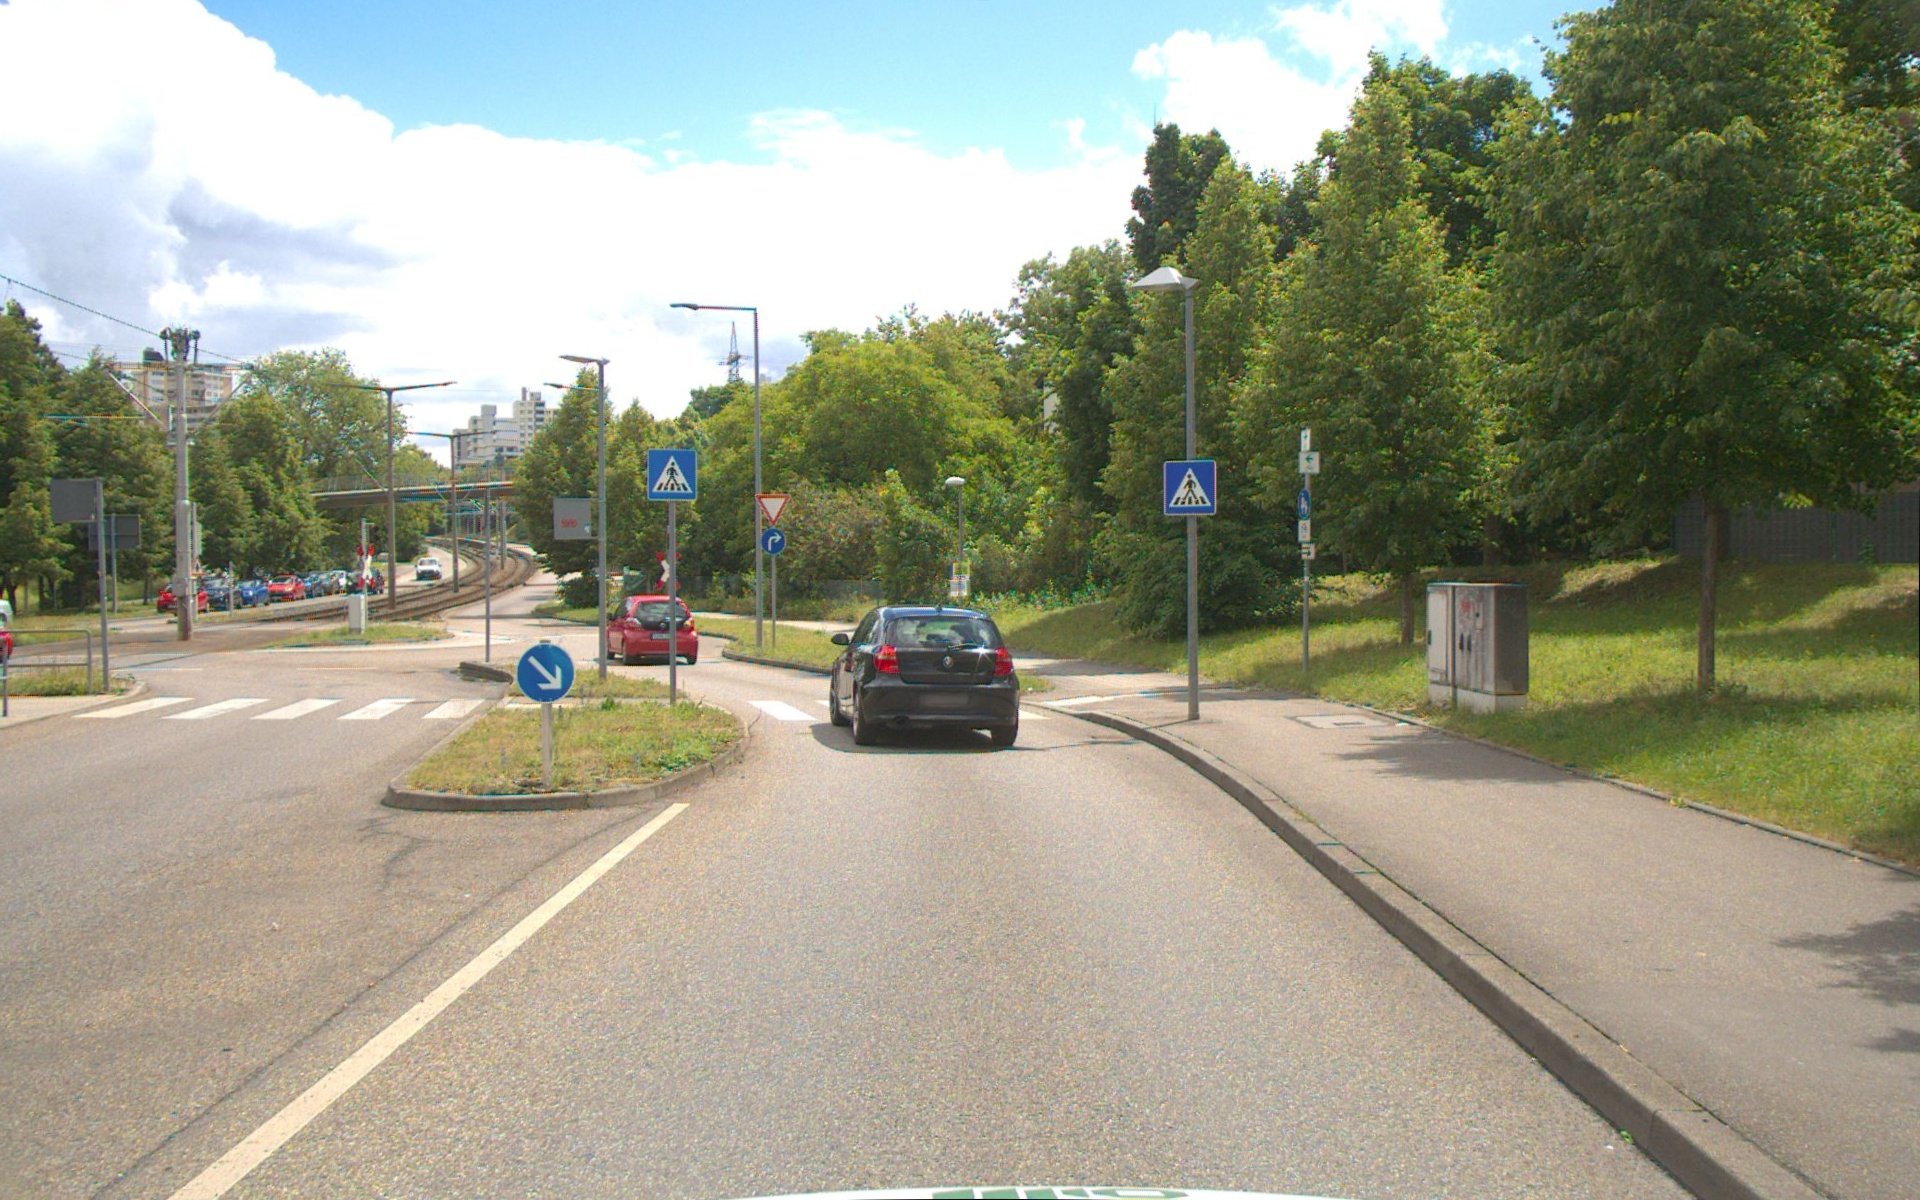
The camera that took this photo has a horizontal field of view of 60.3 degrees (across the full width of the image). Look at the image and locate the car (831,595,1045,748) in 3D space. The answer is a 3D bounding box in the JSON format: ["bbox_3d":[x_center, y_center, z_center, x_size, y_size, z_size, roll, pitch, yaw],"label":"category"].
[{"bbox_3d":[-0.362,0.722,18.224,1.782,1.445,3.991,-2,-1,-9],"label":"car"}]

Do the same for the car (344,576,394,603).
[{"bbox_3d":[-37.425,-0.658,104.825,1.955,1.625,4.414,-1,1,-6],"label":"car"}]

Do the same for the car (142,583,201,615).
[{"bbox_3d":[-35.504,-0.051,74.524,1.501,1.394,3.588,-1,1,-11],"label":"car"}]

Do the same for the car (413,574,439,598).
[{"bbox_3d":[-45.822,-1.214,142.002,1.962,2.049,3.981,-1,1,-17],"label":"car"}]

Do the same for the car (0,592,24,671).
[{"bbox_3d":[-20.171,0.626,32.395,2.896,1.529,1.725,0,1,20],"label":"car"}]

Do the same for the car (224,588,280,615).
[{"bbox_3d":[-36.631,0.039,85.640,1.772,1.276,3.562,-1,2,-8],"label":"car"}]

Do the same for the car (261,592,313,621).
[{"bbox_3d":[-38.956,0.349,95.799,1.877,1.588,3.993,-1,1,-8],"label":"car"}]

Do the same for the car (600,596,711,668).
[{"bbox_3d":[-6.763,0.681,36.516,1.741,1.457,3.455,-2,0,-22],"label":"car"}]

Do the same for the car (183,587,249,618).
[{"bbox_3d":[-36.075,0.118,80.262,1.843,1.450,3.527,-1,1,-6],"label":"car"}]
